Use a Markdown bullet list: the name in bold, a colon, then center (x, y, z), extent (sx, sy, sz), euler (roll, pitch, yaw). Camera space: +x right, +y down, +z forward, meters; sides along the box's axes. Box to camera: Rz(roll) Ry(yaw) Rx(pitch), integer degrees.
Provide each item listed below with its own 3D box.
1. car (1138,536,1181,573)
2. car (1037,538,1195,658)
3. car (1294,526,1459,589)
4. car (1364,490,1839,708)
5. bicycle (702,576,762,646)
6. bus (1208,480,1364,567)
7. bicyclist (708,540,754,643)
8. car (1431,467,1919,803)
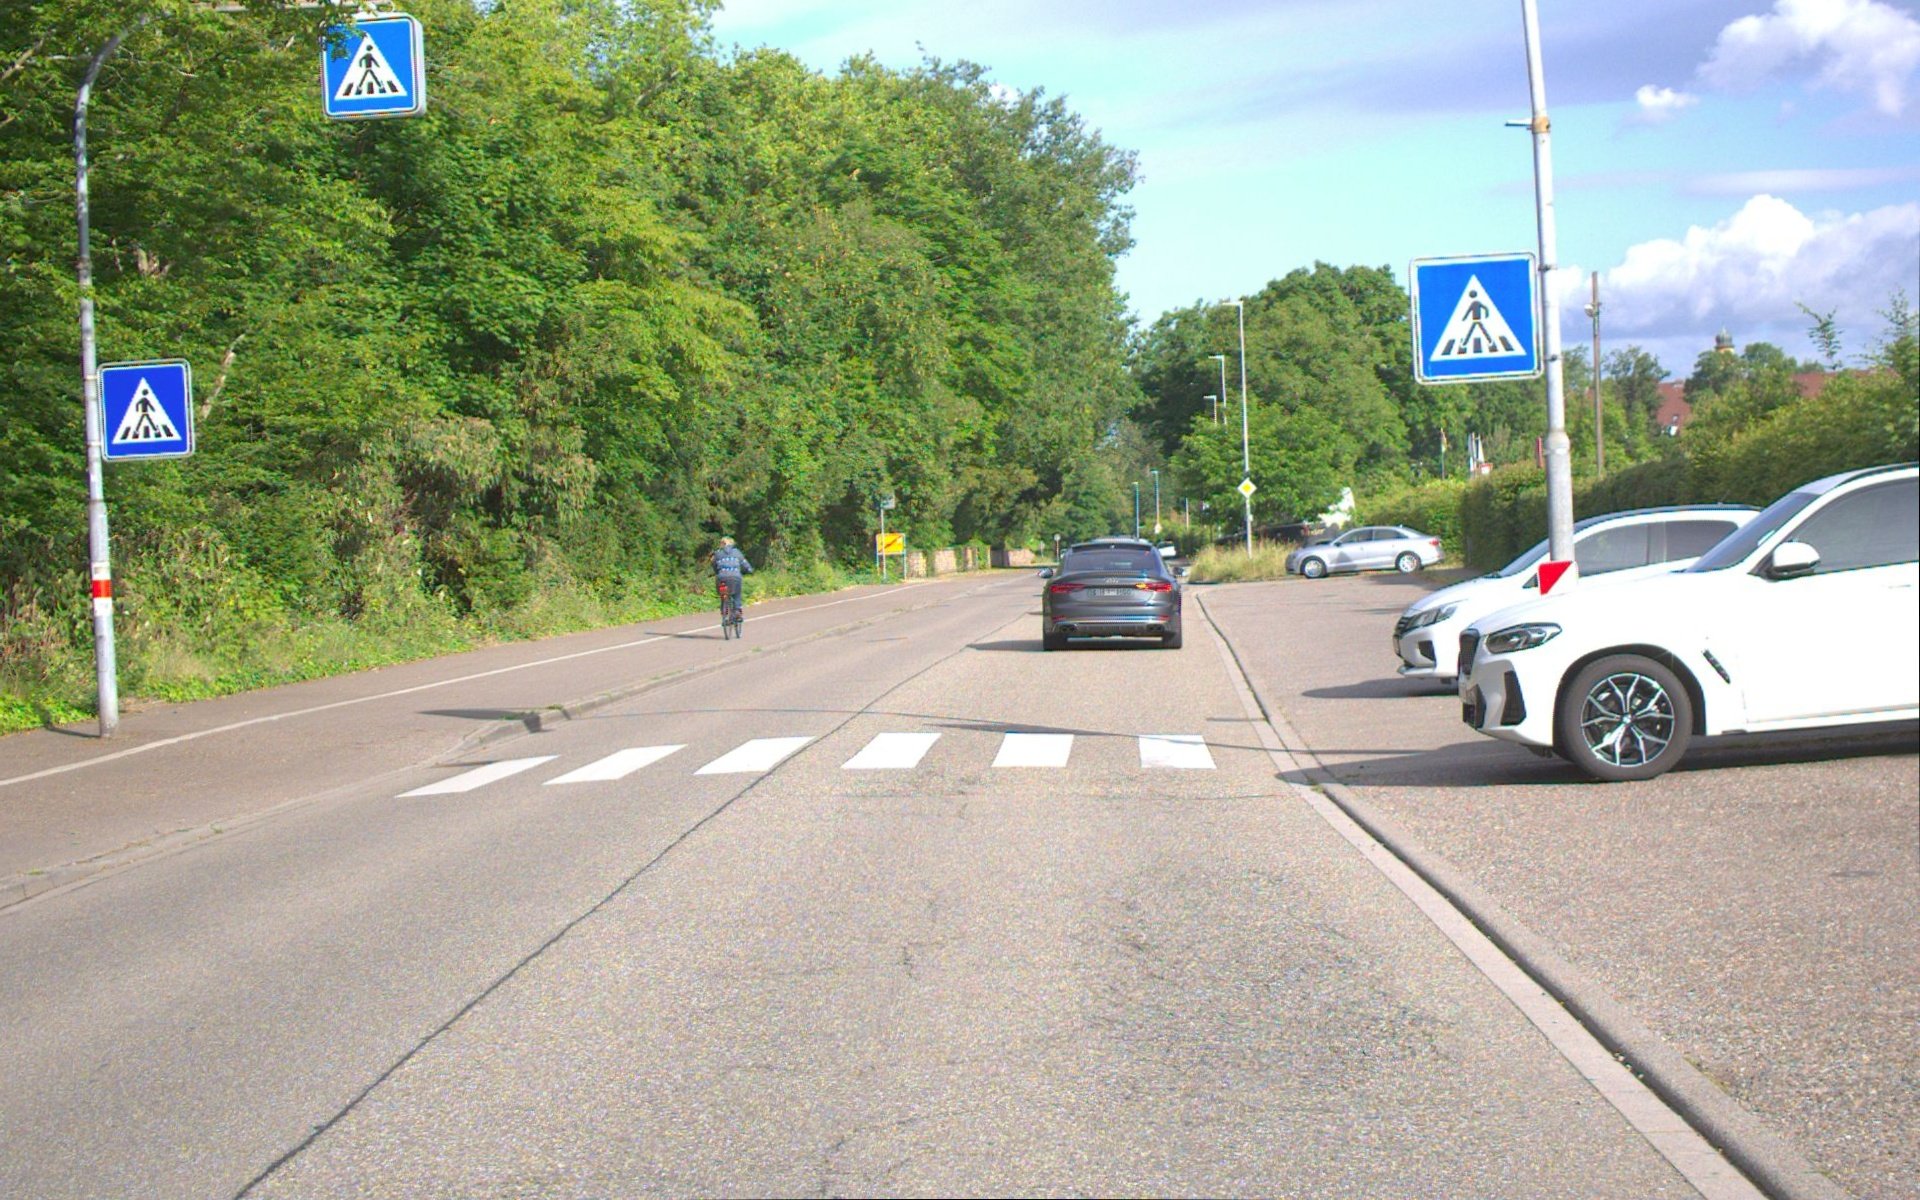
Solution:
- **car**: center (7.896, -1.805, 135.903), extent (1.495, 1.361, 3.261), euler (-3, 1, 6)
- **car**: center (2.124, -0.064, 45.894), extent (1.966, 1.429, 4.336), euler (-2, 1, 4)
- **car**: center (11.569, -1.179, 95.399), extent (4.364, 1.438, 1.932), euler (-4, 0, 10)
- **car**: center (5.708, -0.031, 30.927), extent (3.857, 1.485, 1.692), euler (-6, 2, 2)
- **bicycle**: center (-3.755, 0.170, 56.762), extent (0.662, 1.093, 2.348), euler (-1, 1, 4)
- **bus**: center (11.894, -2.801, 125.645), extent (5.365, 2.737, 2.068), euler (-4, 1, 1)
- **bicyclist**: center (-3.772, -0.149, 56.664), extent (0.609, 1.671, 0.883), euler (-2, 1, 4)
- **car**: center (5.163, 0.106, 19.980), extent (4.588, 1.693, 1.763), euler (-4, 1, 4)
